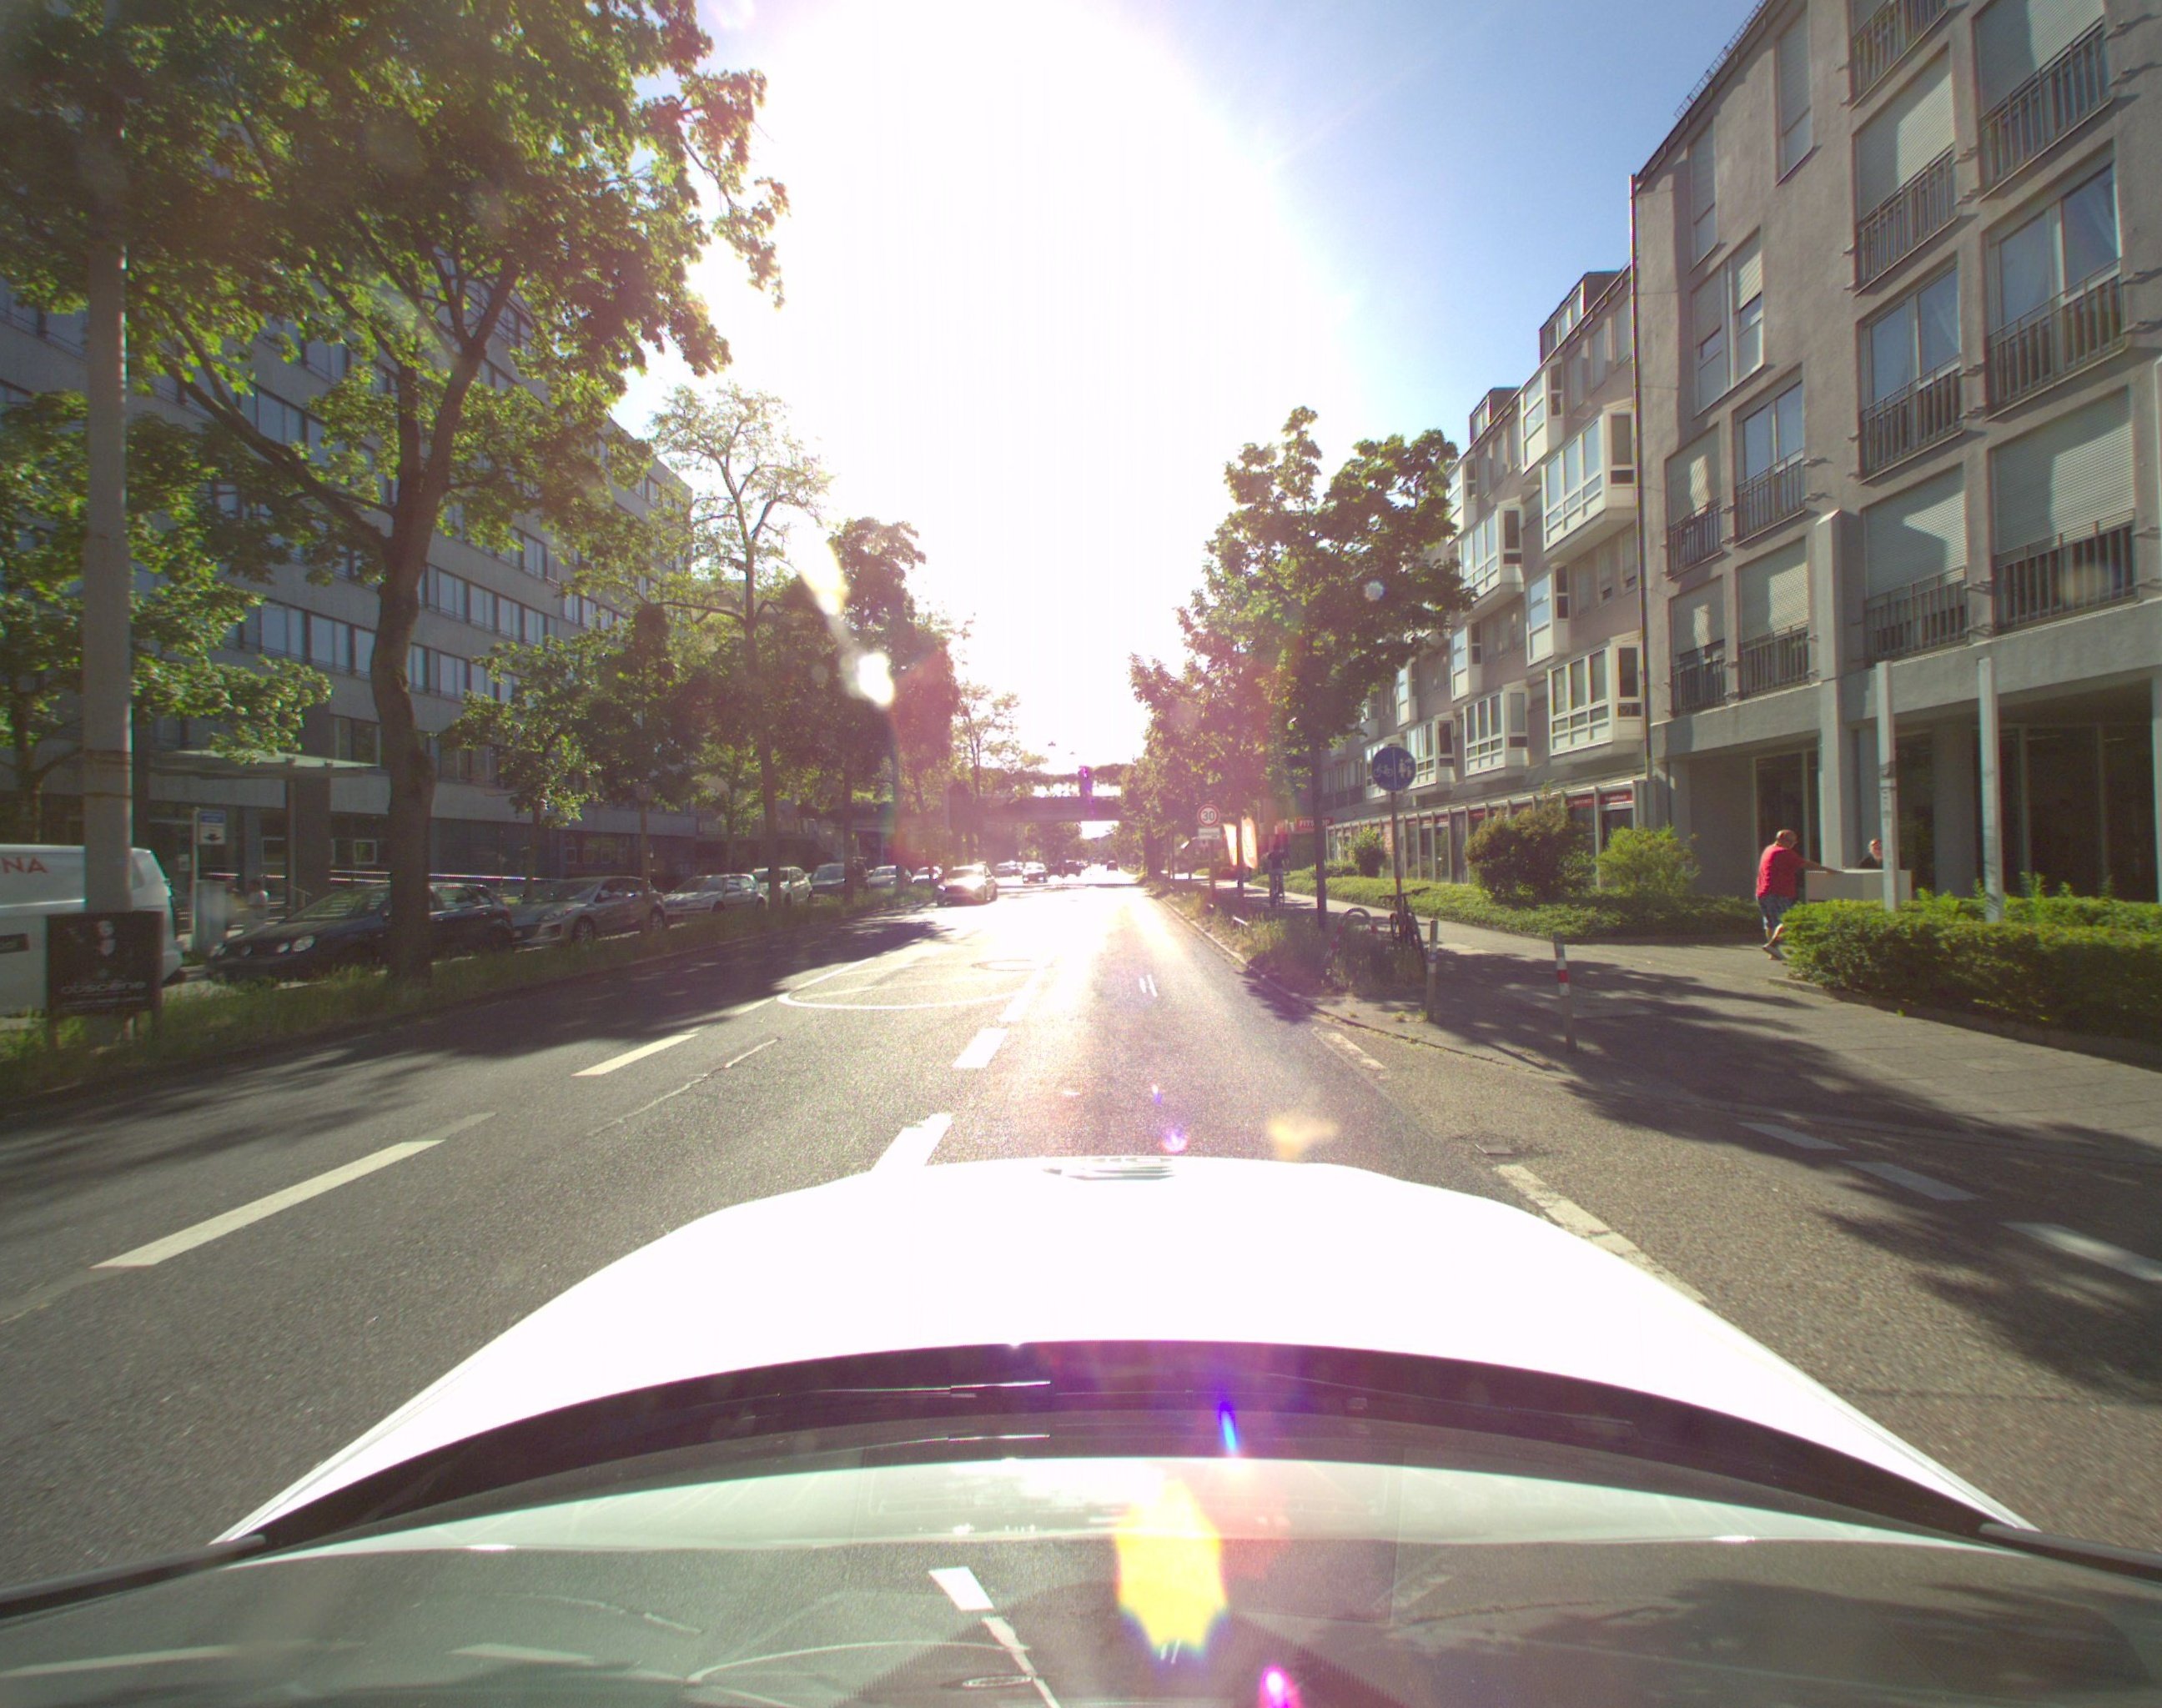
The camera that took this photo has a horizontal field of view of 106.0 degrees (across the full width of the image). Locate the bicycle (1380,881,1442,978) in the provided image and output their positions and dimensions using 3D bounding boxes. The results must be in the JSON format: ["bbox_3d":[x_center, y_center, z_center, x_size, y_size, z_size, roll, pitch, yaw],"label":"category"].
[{"bbox_3d":[4.202,0.908,10.481,0.586,1.066,2.032,-1,-1,18],"label":"bicycle"}]

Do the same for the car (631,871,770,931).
[{"bbox_3d":[-10.644,1.261,23.156,1.848,1.523,4.067,0,-1,3],"label":"car"}]

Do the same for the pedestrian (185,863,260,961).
[{"bbox_3d":[-19.011,1.266,18.044,0.784,2.093,0.776,0,-2,13],"label":"pedestrian"}]

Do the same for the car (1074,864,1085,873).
[{"bbox_3d":[-0.172,2.532,143.758,1.849,1.523,4.319,0,-1,1],"label":"car"}]

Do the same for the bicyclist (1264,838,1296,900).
[{"bbox_3d":[5.549,0.431,22.761,0.665,1.695,0.889,0,-1,1],"label":"bicyclist"}]

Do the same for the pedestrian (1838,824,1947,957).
[{"bbox_3d":[10.364,0.456,10.422,0.652,1.604,0.602,-4,-2,-4],"label":"pedestrian"}]

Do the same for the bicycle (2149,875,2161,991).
[{"bbox_3d":[9.791,0.728,6.208,0.681,1.027,2.210,-2,1,10],"label":"bicycle"}]

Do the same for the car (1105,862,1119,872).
[{"bbox_3d":[4.584,1.881,120.022,1.848,1.523,4.322,0,-1,3],"label":"car"}]

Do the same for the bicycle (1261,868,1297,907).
[{"bbox_3d":[5.525,0.919,22.812,0.587,1.027,1.860,-1,-1,1],"label":"bicycle"}]

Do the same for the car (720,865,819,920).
[{"bbox_3d":[-10.561,1.248,28.030,1.852,1.684,4.659,0,-1,-3],"label":"car"}]

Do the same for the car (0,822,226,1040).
[{"bbox_3d":[-11.329,0.776,7.217,1.975,2.076,5.194,-3,-1,-1],"label":"car"}]

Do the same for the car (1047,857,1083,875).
[{"bbox_3d":[-1.501,1.122,75.798,1.993,1.600,4.109,0,0,-22],"label":"car"}]

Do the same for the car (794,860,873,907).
[{"bbox_3d":[-10.237,1.178,34.062,1.849,1.850,4.562,0,-1,1],"label":"car"}]

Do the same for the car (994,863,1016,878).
[{"bbox_3d":[-7.988,1.663,85.371,1.849,1.523,4.078,0,-1,1],"label":"car"}]

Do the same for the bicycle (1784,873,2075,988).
[{"bbox_3d":[8.669,0.770,8.386,2.186,1.027,0.688,-2,1,3],"label":"bicycle"}]

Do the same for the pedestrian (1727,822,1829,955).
[{"bbox_3d":[8.870,0.437,10.387,0.652,1.604,0.602,-4,-2,-4],"label":"pedestrian"}]

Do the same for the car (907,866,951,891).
[{"bbox_3d":[-9.570,1.526,51.566,1.849,1.523,4.319,0,-1,1],"label":"car"}]

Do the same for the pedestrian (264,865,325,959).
[{"bbox_3d":[-18.084,1.311,18.729,0.763,2.093,0.797,0,-2,34],"label":"pedestrian"}]

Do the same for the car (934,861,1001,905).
[{"bbox_3d":[-4.477,1.106,32.750,1.849,1.568,4.716,-3,-1,1],"label":"car"}]

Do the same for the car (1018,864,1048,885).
[{"bbox_3d":[-3.576,1.492,61.755,1.849,1.440,4.319,-3,-1,1],"label":"car"}]

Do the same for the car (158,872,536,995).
[{"bbox_3d":[-10.926,1.076,12.674,1.774,1.523,4.323,0,-1,4],"label":"car"}]

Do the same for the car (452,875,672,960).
[{"bbox_3d":[-10.817,1.241,17.433,1.849,1.523,4.320,0,-1,2],"label":"car"}]

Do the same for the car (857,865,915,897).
[{"bbox_3d":[-9.971,1.349,41.913,1.848,1.568,3.874,0,-1,2],"label":"car"}]
